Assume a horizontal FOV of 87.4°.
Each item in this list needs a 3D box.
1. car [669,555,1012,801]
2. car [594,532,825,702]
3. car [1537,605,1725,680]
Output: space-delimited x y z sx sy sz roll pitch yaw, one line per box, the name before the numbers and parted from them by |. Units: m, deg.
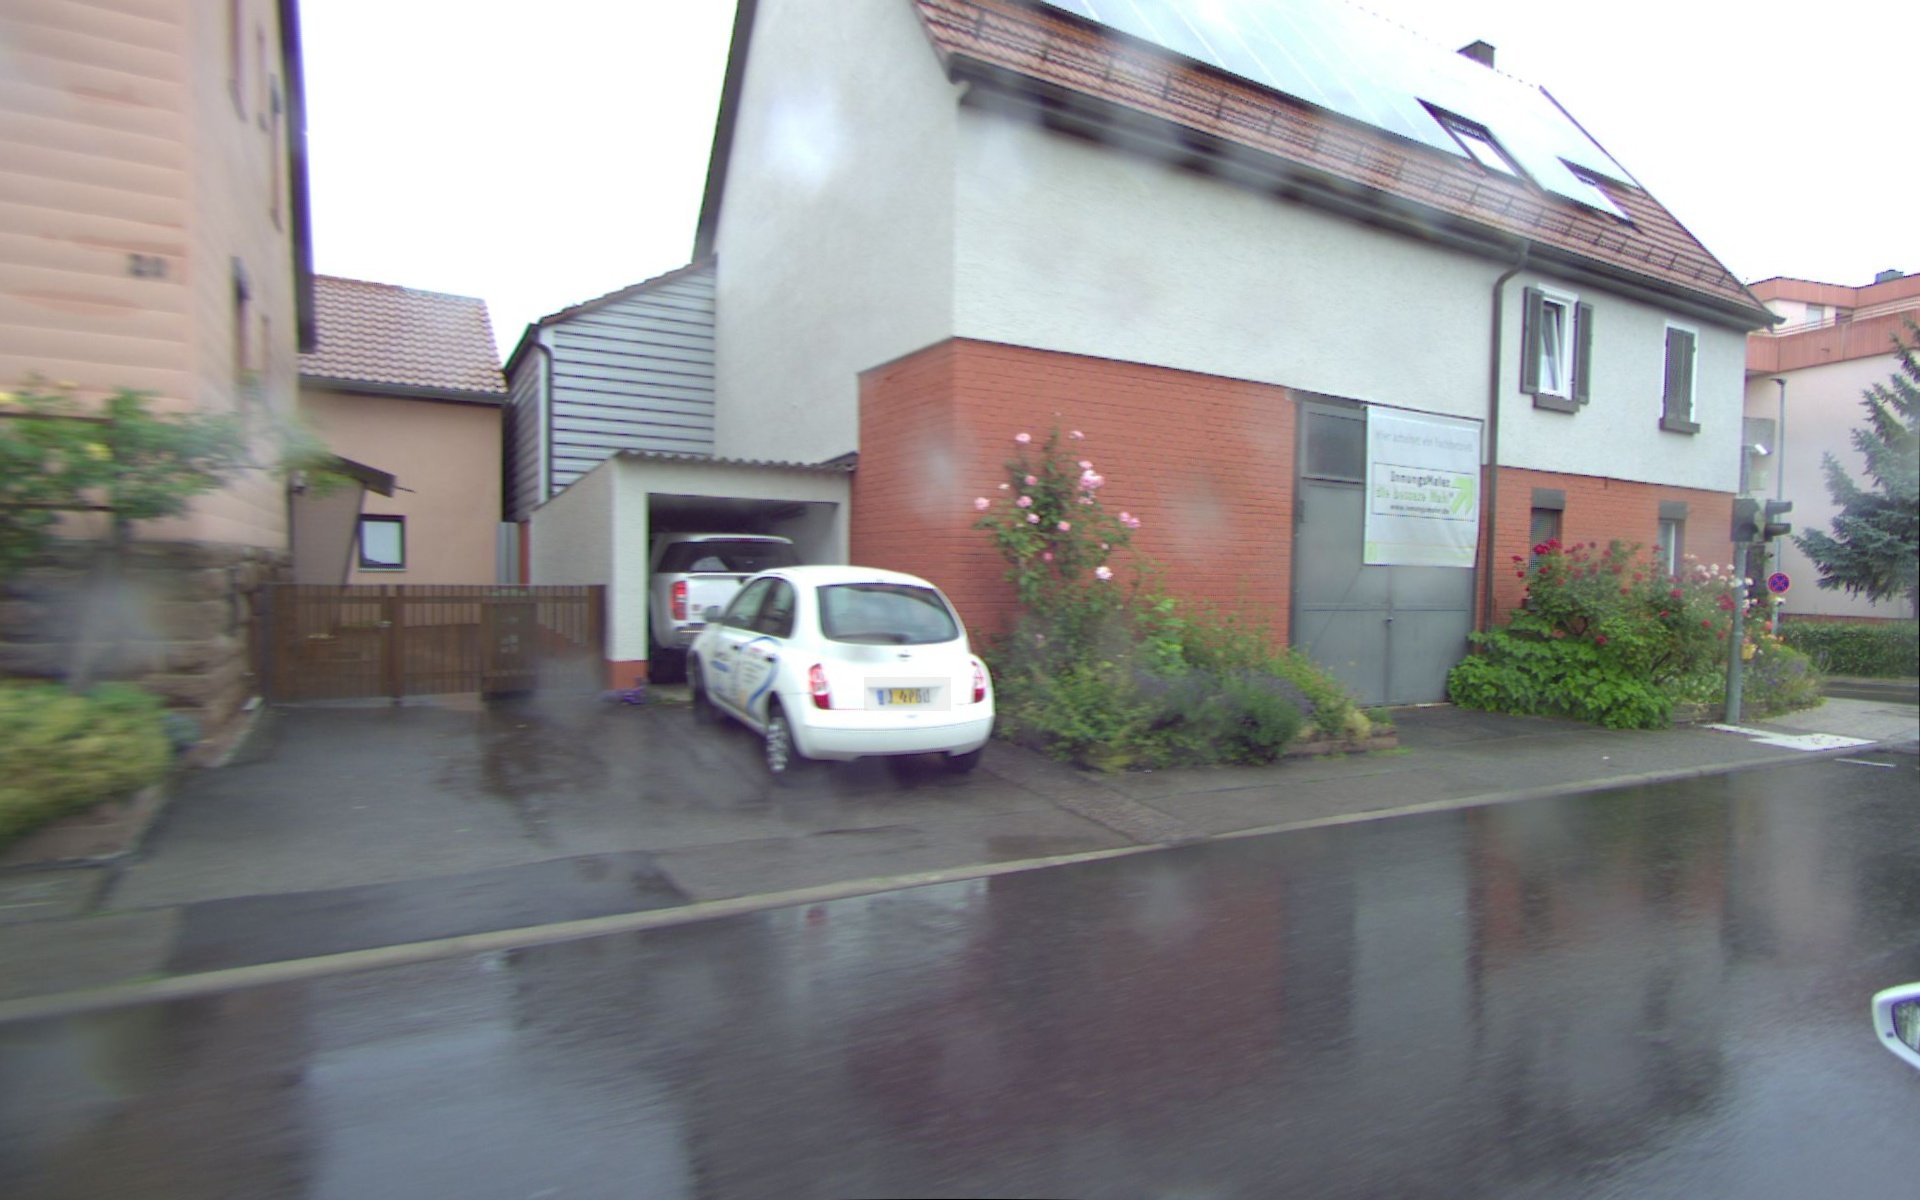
car | -1.215 0.460 8.544 1.643 1.550 3.528 1 3 -29
car | -3.329 0.080 12.753 1.738 1.787 3.966 1 3 -31
car | 19.051 1.155 28.739 2.153 1.894 3.986 2 0 -16
